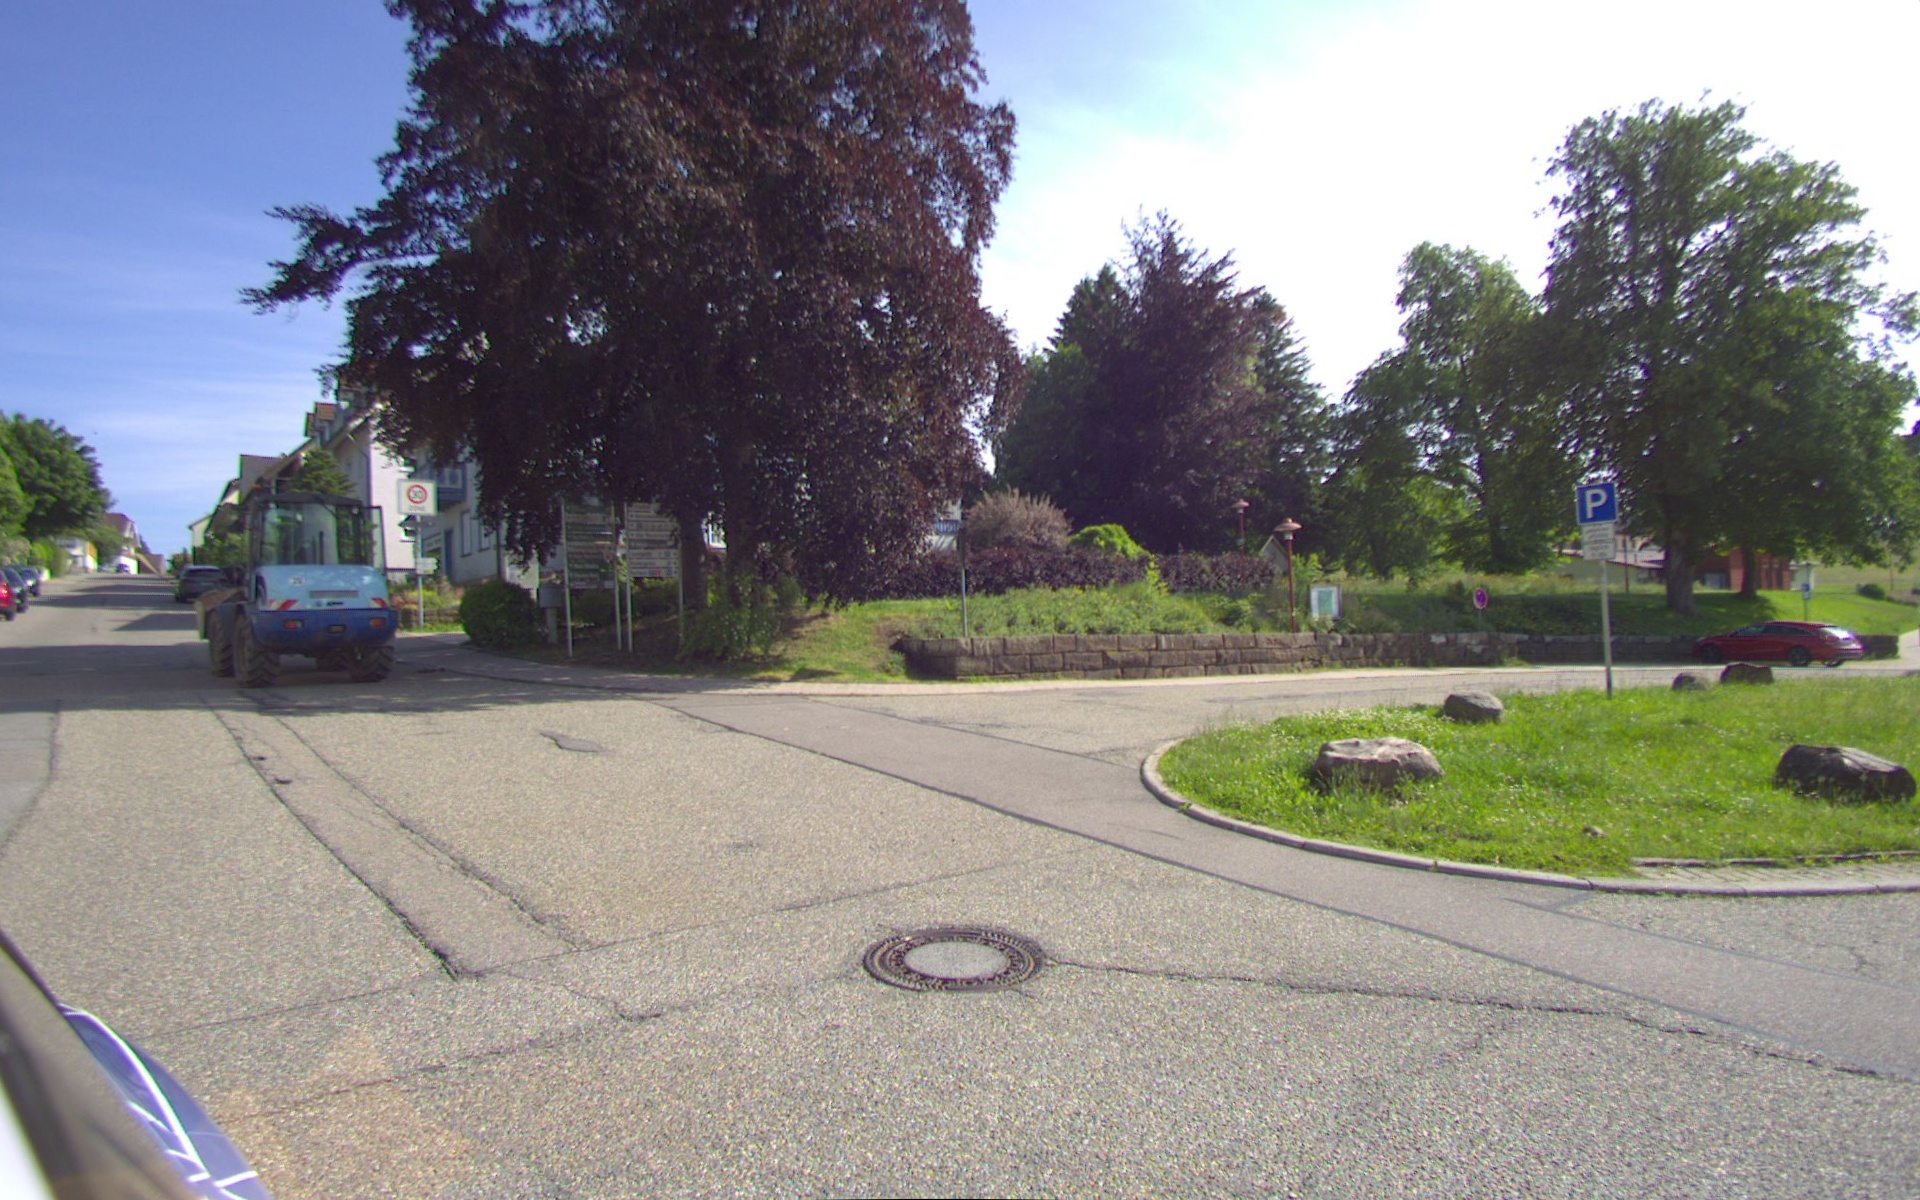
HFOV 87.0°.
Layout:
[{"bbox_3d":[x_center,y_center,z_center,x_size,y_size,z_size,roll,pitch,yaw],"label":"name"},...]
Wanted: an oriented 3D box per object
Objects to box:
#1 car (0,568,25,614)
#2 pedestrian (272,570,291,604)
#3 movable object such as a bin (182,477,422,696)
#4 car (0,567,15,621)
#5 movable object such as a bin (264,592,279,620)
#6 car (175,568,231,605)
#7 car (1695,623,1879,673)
[{"bbox_3d":[-32.642,-0.323,33.913,1.748,1.481,3.817,0,1,-41],"label":"car"},{"bbox_3d":[-32.096,-0.613,47.881,0.658,1.587,0.782,1,1,-40],"label":"pedestrian"},{"bbox_3d":[-10.149,-0.218,15.417,5.107,2.790,1.971,2,0,44],"label":"movable object such as a bin"},{"bbox_3d":[-28.904,-0.221,29.668,1.599,1.509,3.817,0,1,-41],"label":"car"},{"bbox_3d":[-21.791,0.197,32.022,0.345,0.870,0.396,1,0,-40],"label":"movable object such as a bin"},{"bbox_3d":[-34.637,-0.624,46.271,1.781,1.613,3.817,0,1,-41],"label":"car"},{"bbox_3d":[26.383,1.497,32.482,1.792,1.409,4.252,1,0,-18],"label":"car"}]
